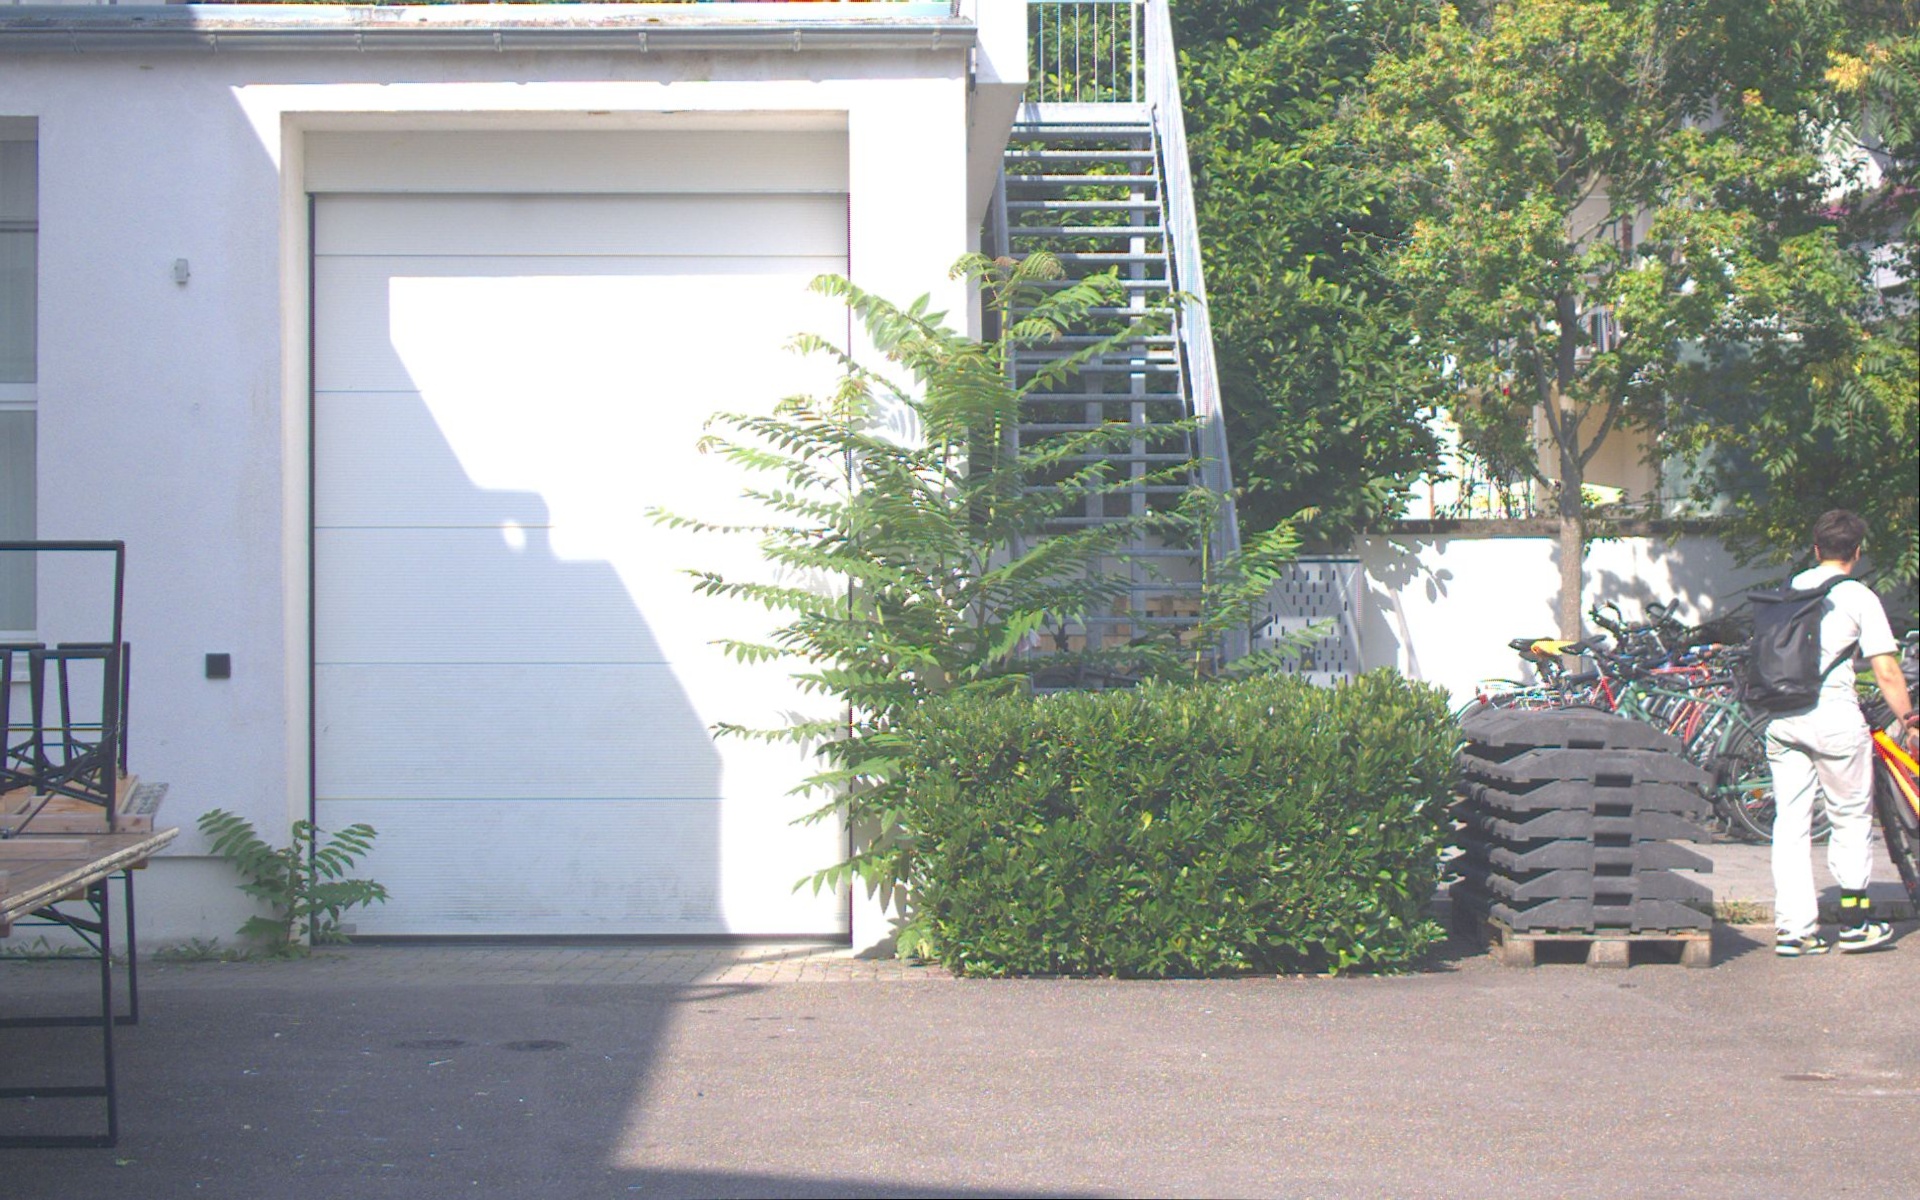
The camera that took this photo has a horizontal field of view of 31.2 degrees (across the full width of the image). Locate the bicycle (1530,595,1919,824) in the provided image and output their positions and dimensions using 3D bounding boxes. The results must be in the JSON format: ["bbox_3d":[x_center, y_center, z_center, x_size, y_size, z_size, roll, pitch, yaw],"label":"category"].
[{"bbox_3d":[4.479,0.613,19.432,2.411,1.242,0.526,1,0,-1],"label":"bicycle"}]

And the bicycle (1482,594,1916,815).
[{"bbox_3d":[4.316,0.603,20.143,2.411,1.242,0.526,1,0,-1],"label":"bicycle"}]

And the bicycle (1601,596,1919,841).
[{"bbox_3d":[4.623,0.619,18.021,2.411,1.242,0.526,1,0,-1],"label":"bicycle"}]

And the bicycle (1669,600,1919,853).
[{"bbox_3d":[4.852,0.638,17.372,2.411,1.242,0.526,1,0,-1],"label":"bicycle"}]

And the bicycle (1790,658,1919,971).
[{"bbox_3d":[3.901,0.844,13.874,0.488,1.140,1.994,-1,1,-4],"label":"bicycle"}]

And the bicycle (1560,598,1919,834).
[{"bbox_3d":[4.548,0.629,18.817,2.411,1.242,0.526,1,0,-1],"label":"bicycle"}]

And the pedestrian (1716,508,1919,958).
[{"bbox_3d":[3.568,0.523,13.848,0.858,1.765,0.611,1,0,-4],"label":"pedestrian"}]
